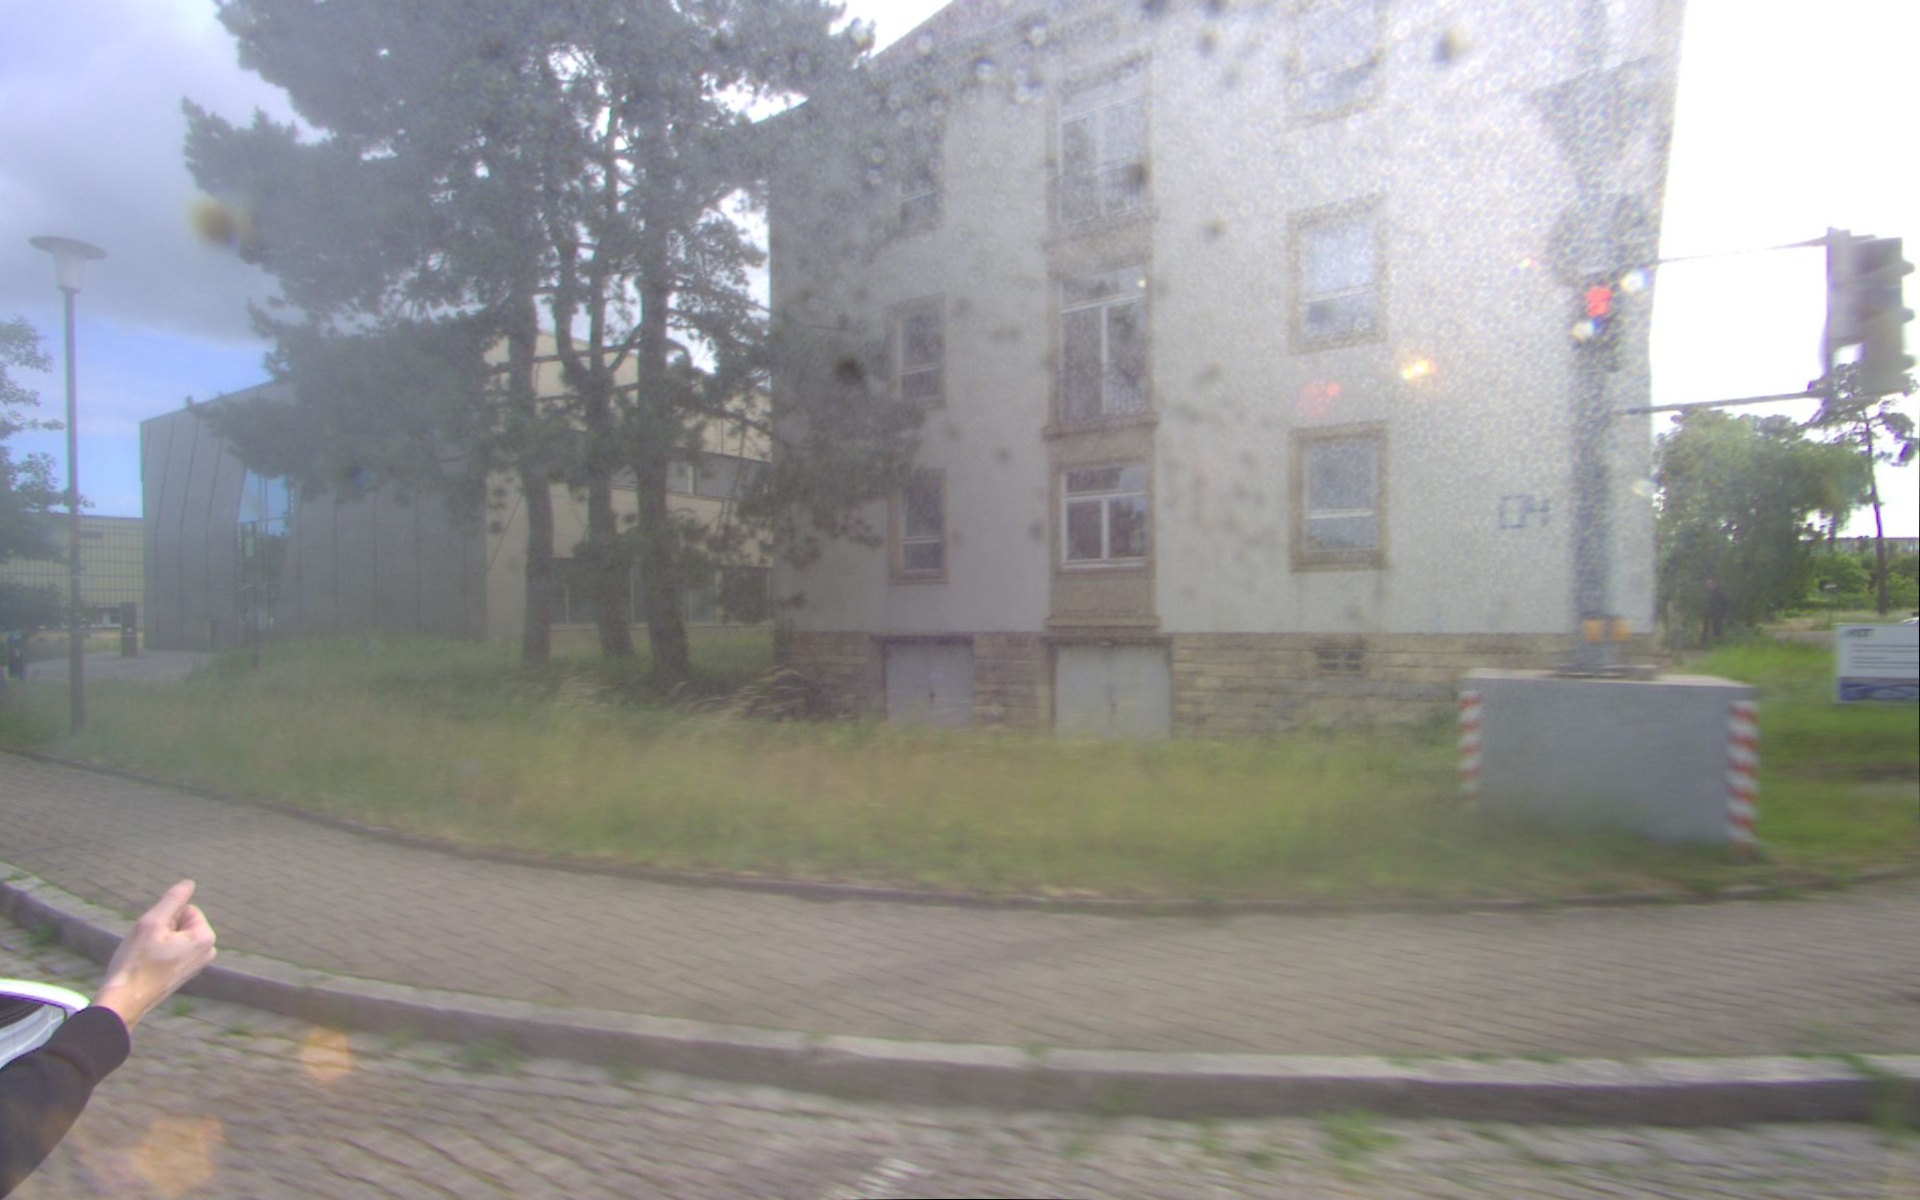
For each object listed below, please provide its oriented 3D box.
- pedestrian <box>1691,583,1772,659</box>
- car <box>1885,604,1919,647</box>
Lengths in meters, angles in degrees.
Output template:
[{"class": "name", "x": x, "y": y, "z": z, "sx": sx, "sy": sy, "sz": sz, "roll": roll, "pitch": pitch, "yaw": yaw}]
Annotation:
[{"class": "pedestrian", "x": 19.958, "y": 0.538, "z": 25.954, "sx": 1.177, "sy": 1.894, "sz": 1.547, "roll": 1, "pitch": 0, "yaw": 19}, {"class": "car", "x": 37.965, "y": 0.958, "z": 37.973, "sx": 3.942, "sy": 1.621, "sz": 1.695, "roll": -1, "pitch": -1, "yaw": 32}]
